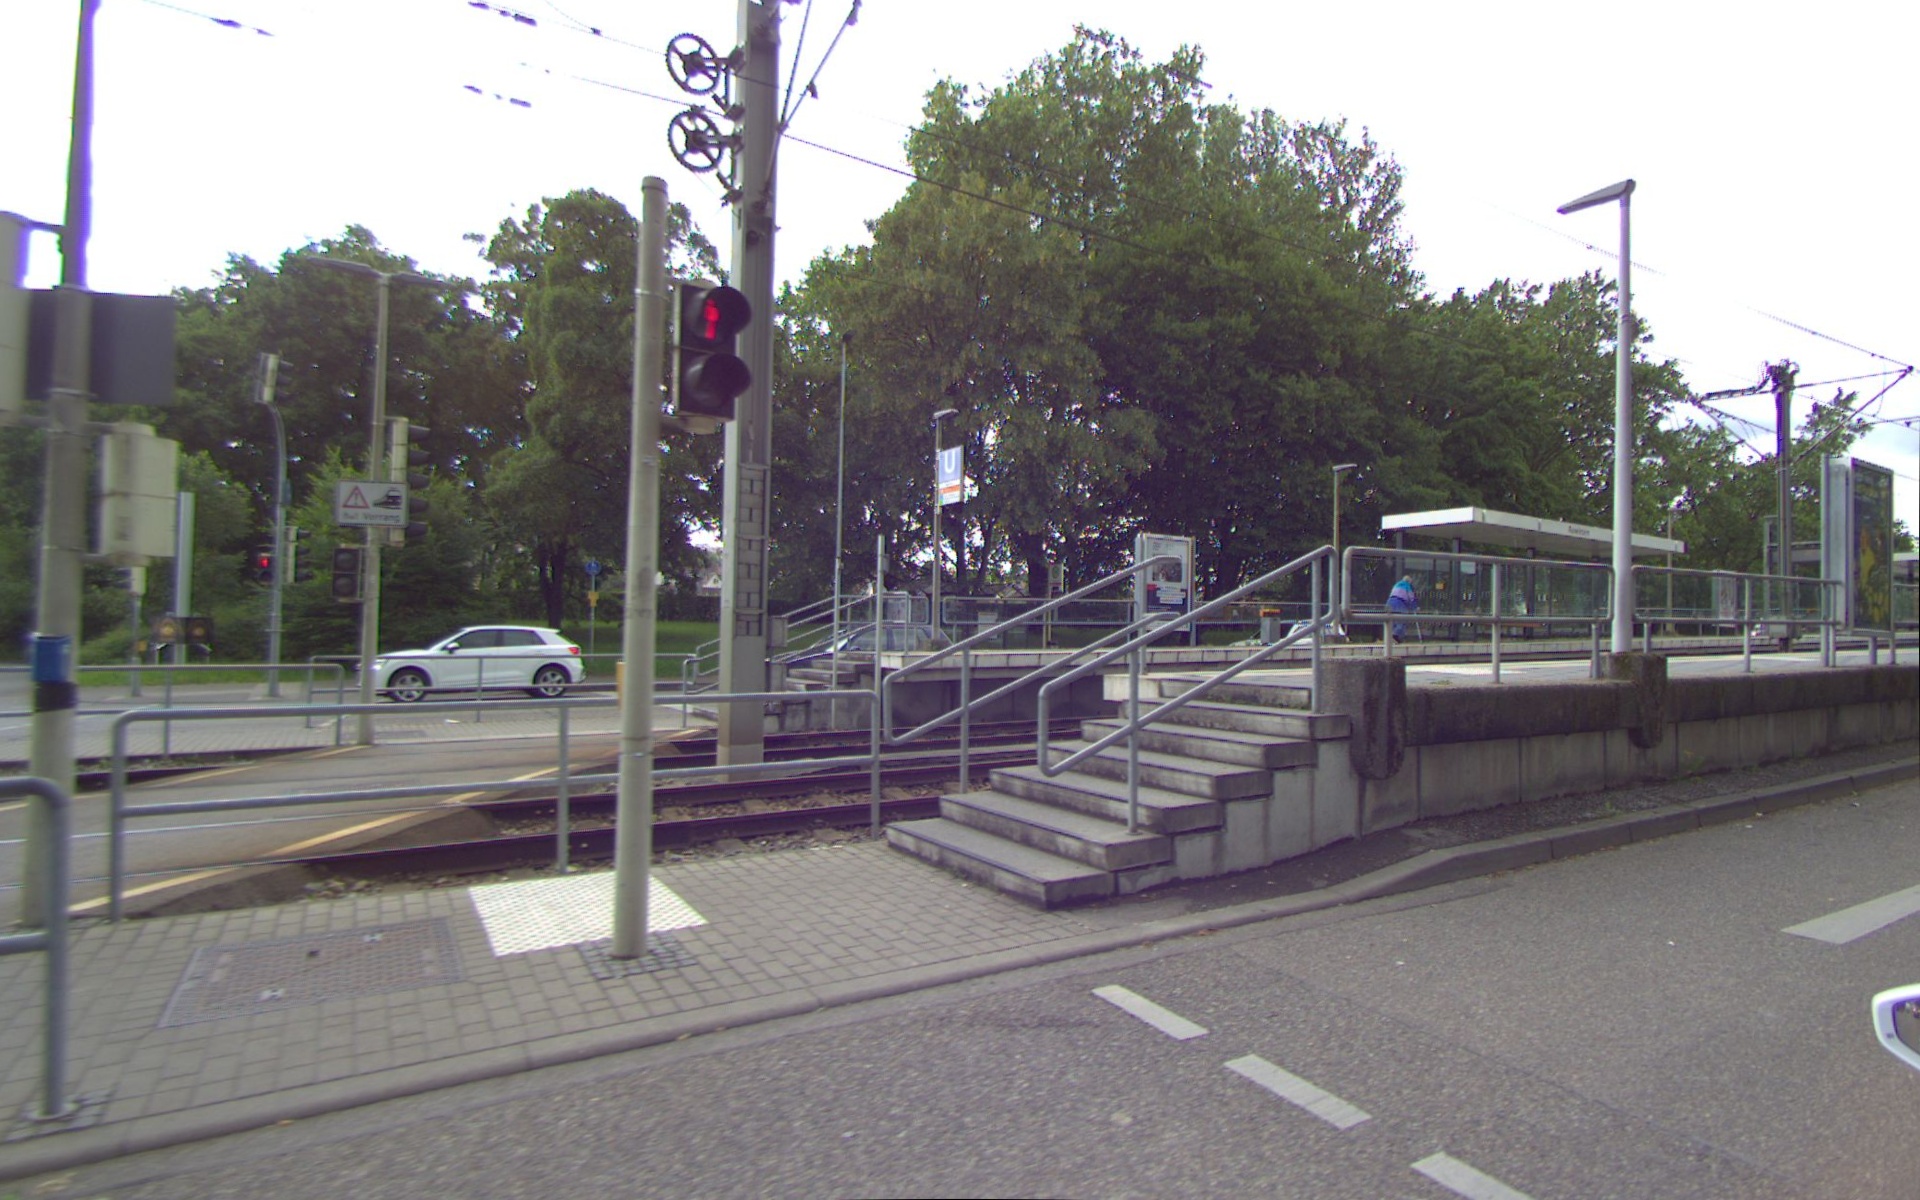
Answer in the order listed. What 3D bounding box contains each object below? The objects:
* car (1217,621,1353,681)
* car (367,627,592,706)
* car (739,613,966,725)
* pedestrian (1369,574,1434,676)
[{"bbox_3d":[10.244,1.605,31.545,4.352,1.774,1.701,2,-3,-33],"label":"car"},{"bbox_3d":[-9.759,1.344,20.499,3.958,1.464,1.676,2,-4,-33],"label":"car"},{"bbox_3d":[-2.010,1.257,19.166,3.958,1.885,1.687,2,0,-33],"label":"car"},{"bbox_3d":[9.892,0.565,22.538,0.965,2.215,0.965,1,-1,-31],"label":"pedestrian"}]
